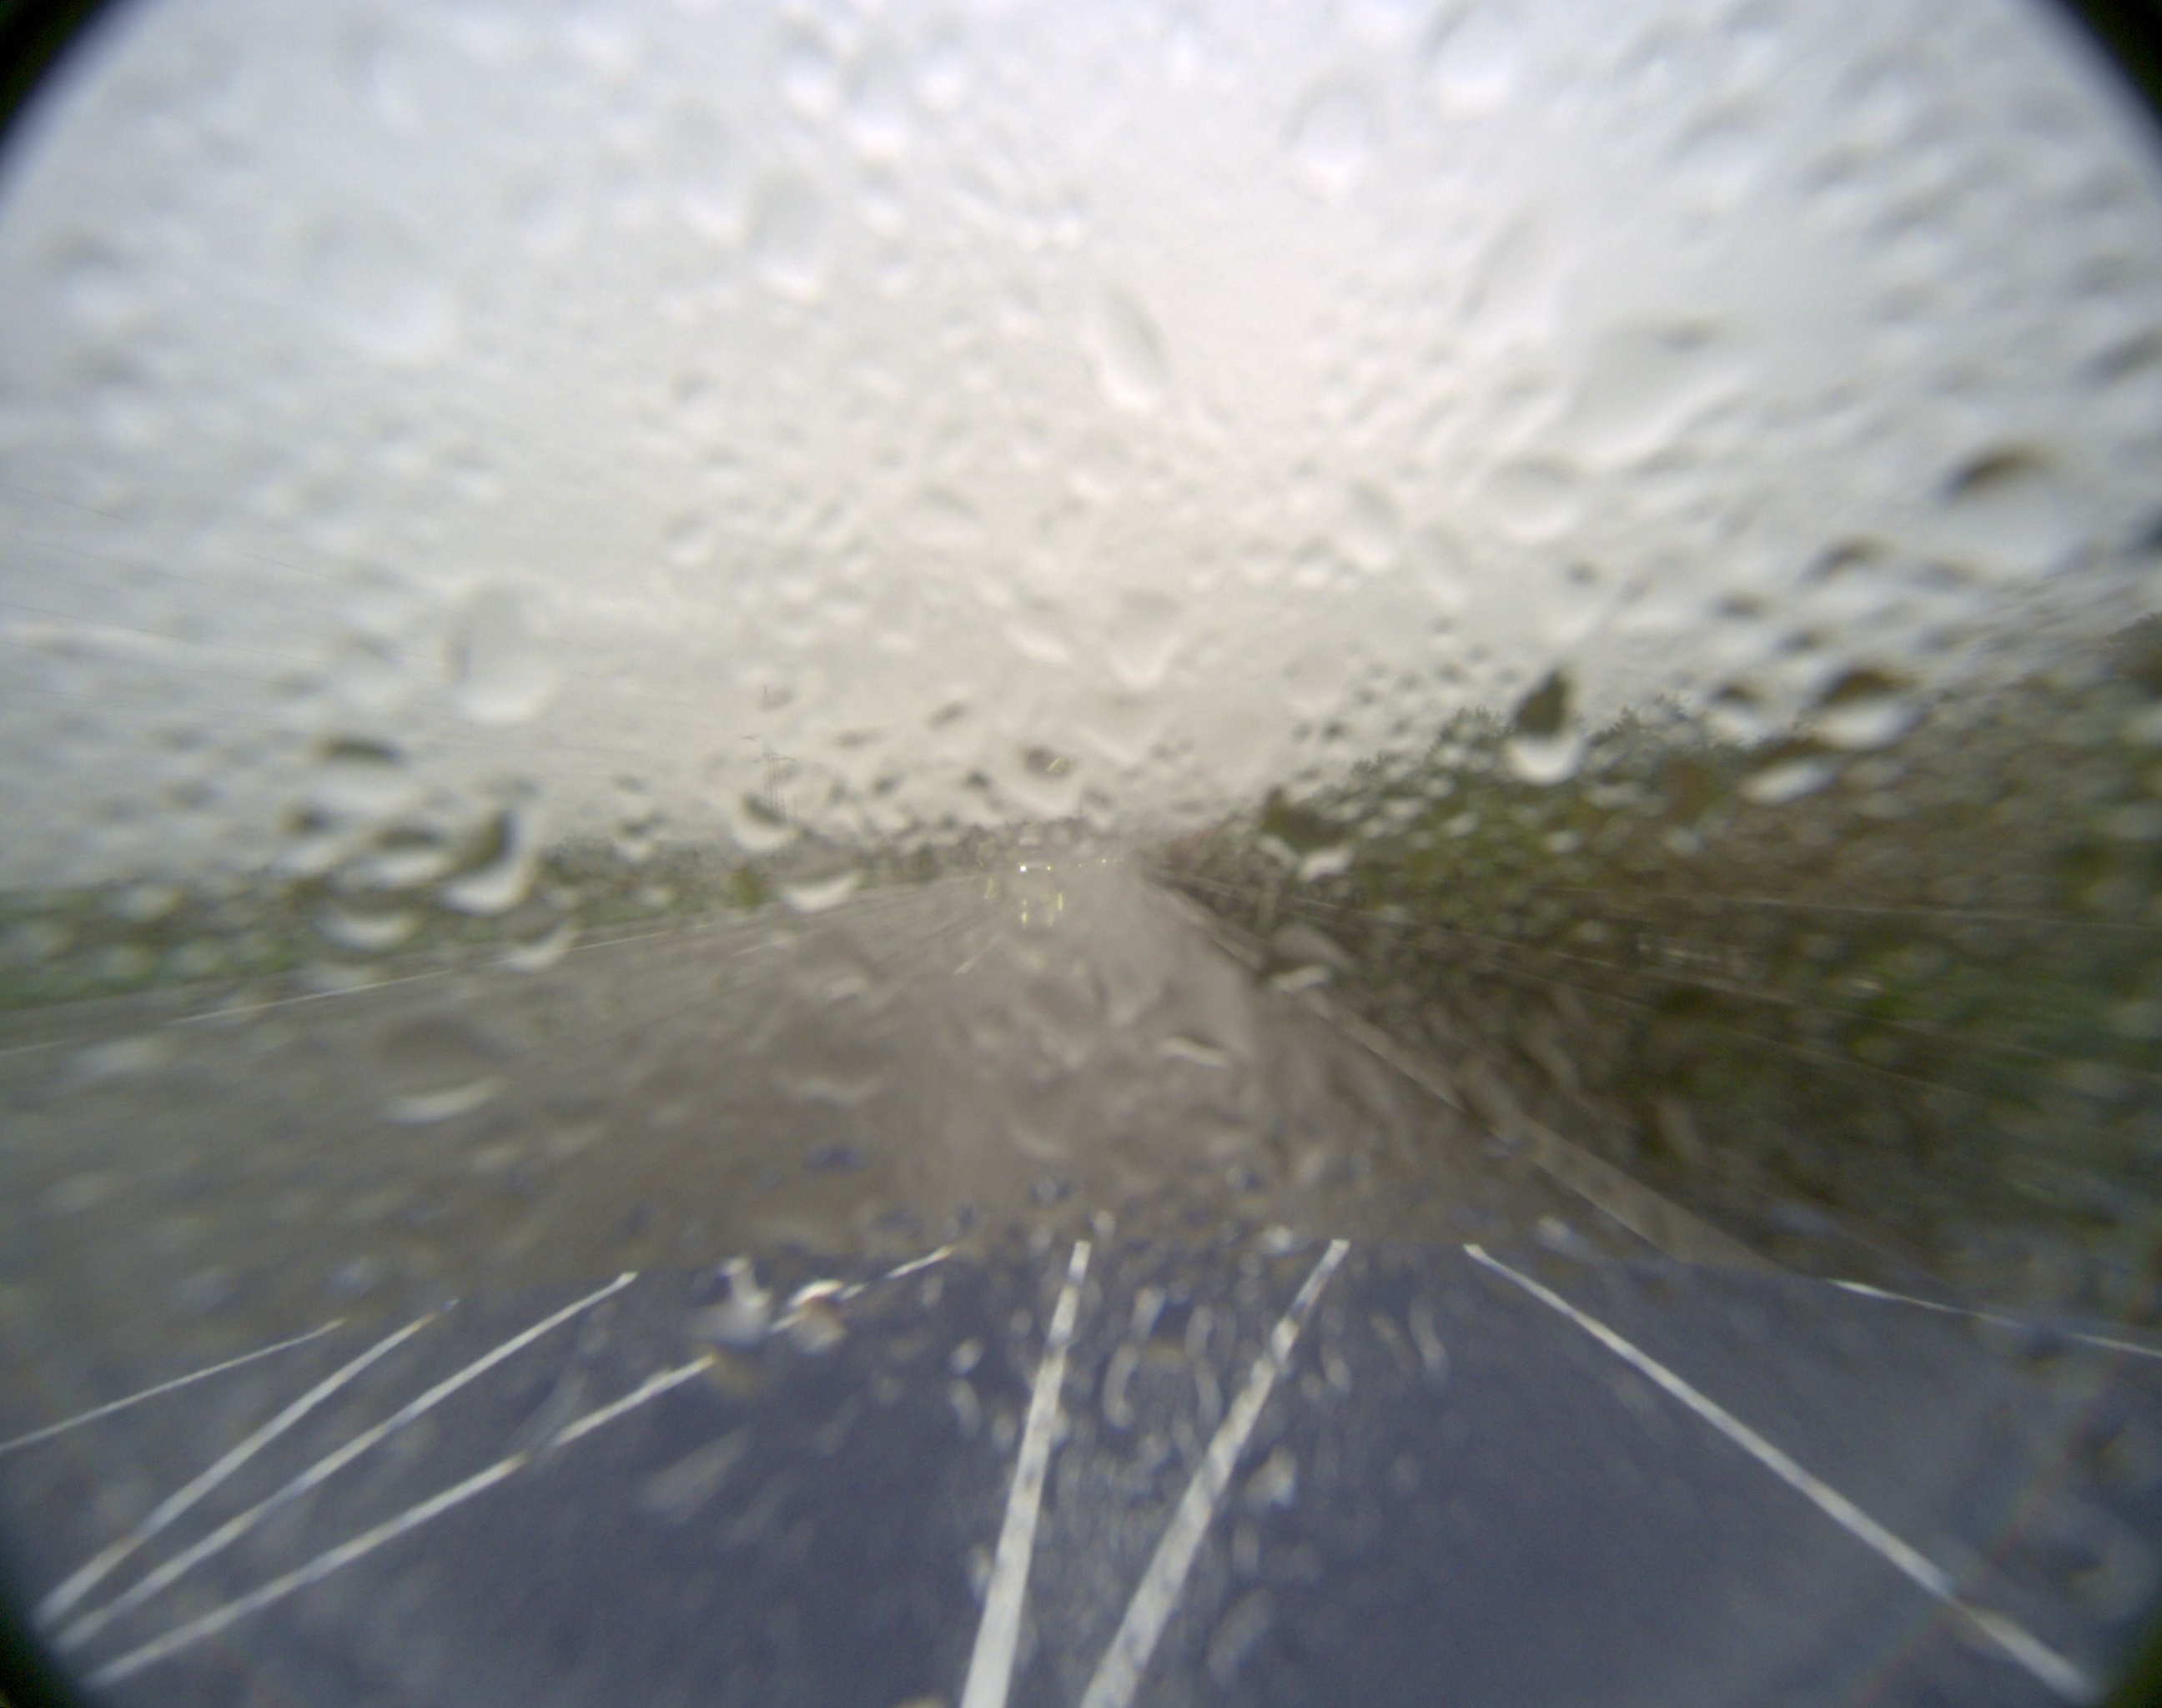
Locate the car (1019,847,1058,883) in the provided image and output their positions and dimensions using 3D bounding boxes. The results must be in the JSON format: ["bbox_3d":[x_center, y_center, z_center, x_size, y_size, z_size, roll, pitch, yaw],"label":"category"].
[{"bbox_3d":[-2.535,0.608,46.199,1.998,2.002,4.000,-3,0,0],"label":"car"}]

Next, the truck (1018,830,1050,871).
[{"bbox_3d":[-5.565,-0.442,91.984,3.136,4.642,11.402,-2,1,0],"label":"truck"}]

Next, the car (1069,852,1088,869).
[{"bbox_3d":[-0.339,0.818,96.427,1.998,2.002,4.001,-2,1,5],"label":"car"}]
